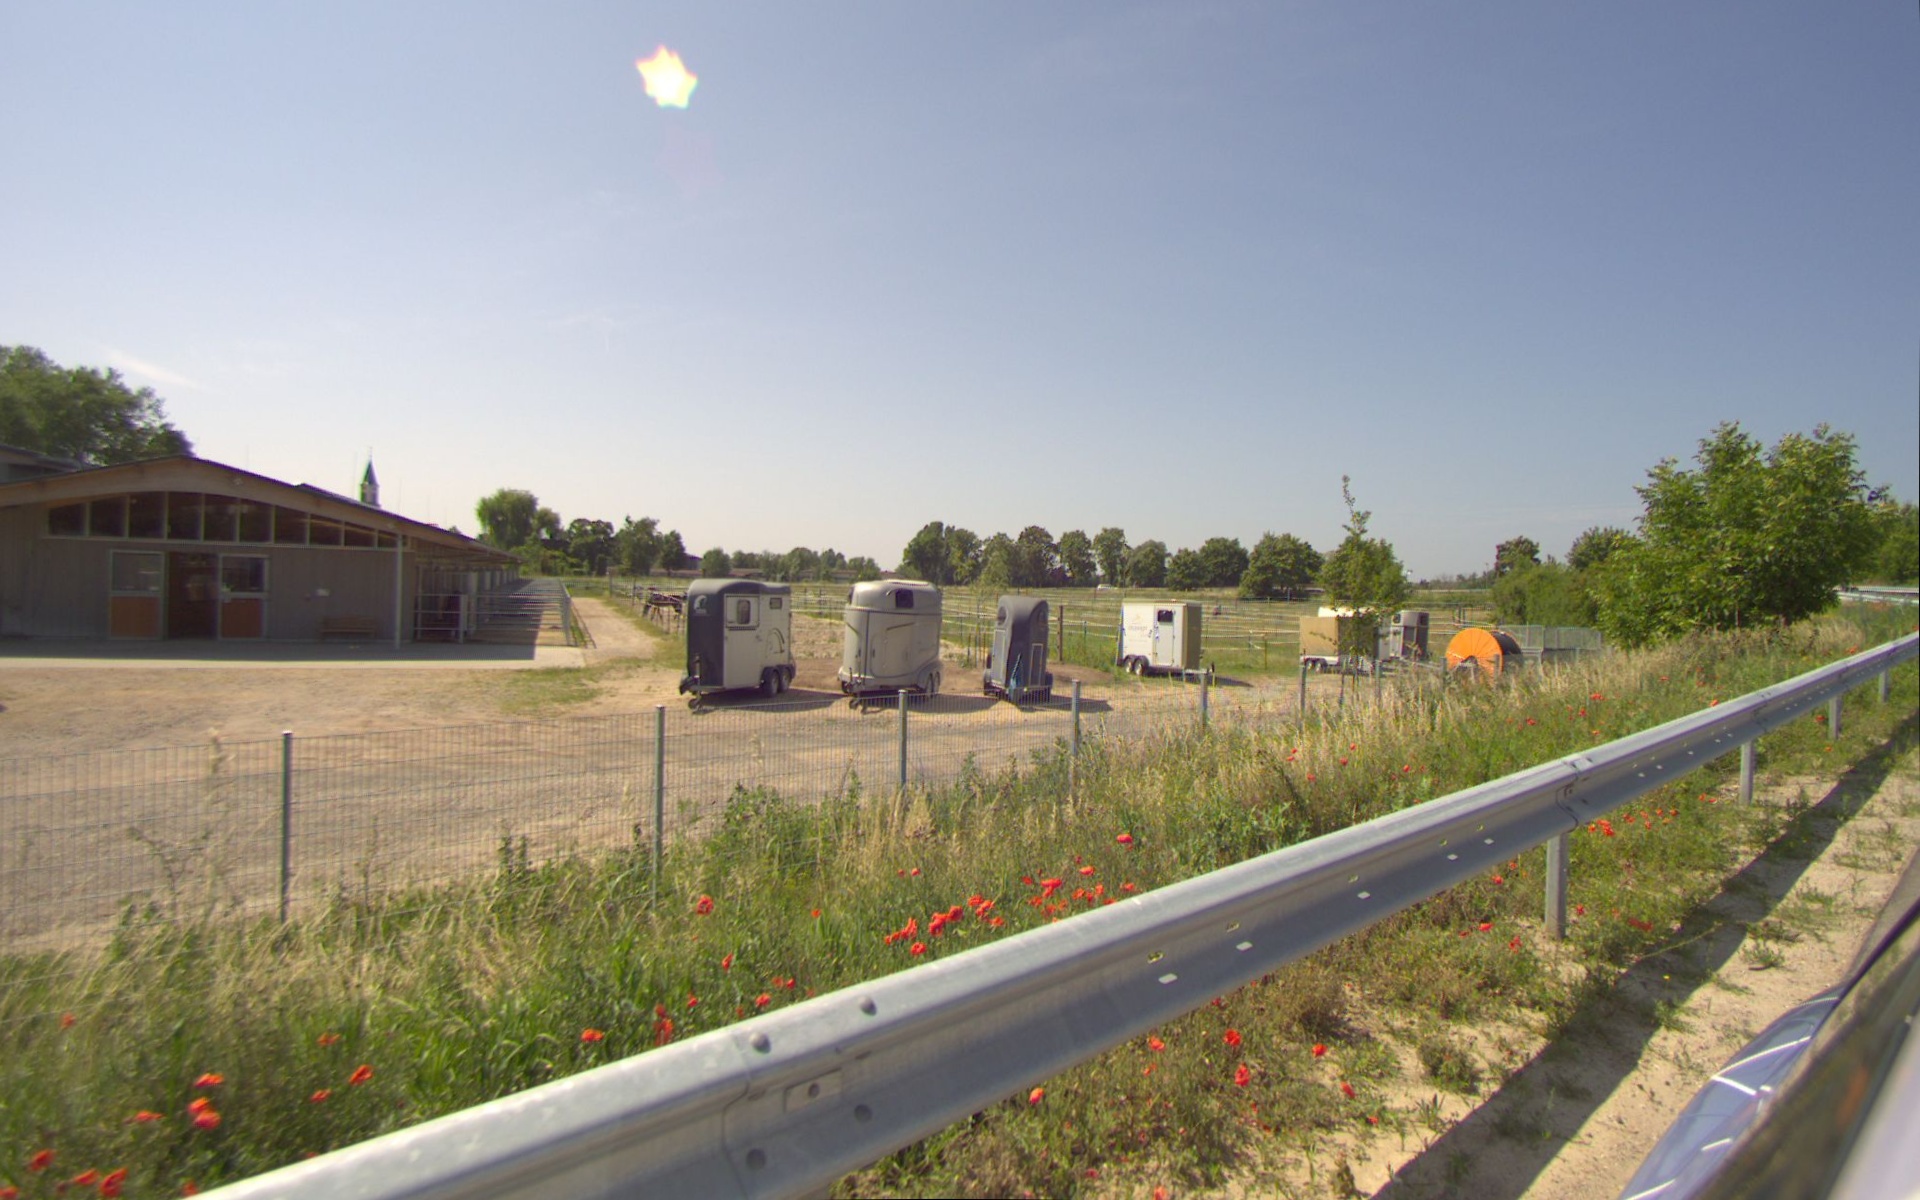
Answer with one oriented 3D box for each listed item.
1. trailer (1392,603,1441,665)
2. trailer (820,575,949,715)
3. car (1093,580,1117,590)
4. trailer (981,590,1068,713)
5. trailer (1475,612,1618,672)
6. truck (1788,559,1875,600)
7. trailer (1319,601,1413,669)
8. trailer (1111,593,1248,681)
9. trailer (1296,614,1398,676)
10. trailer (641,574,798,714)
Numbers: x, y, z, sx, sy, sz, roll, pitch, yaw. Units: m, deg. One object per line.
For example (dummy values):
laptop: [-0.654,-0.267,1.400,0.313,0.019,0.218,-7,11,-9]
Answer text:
trailer: [22.452,1.664,49.861,1.978,2.841,3.350,3,-1,23]
trailer: [-1.653,0.901,24.125,2.195,2.900,5.038,2,1,5]
car: [28.212,-2.914,196.786,4.207,2.038,2.002,-1,1,-4]
trailer: [1.526,1.160,25.588,1.792,2.661,4.551,4,1,1]
trailer: [26.549,1.842,45.799,5.926,2.409,2.586,-1,1,-24]
truck: [79.855,-1.871,92.692,8.023,3.583,2.830,-1,1,-23]
trailer: [18.182,1.516,45.467,2.120,2.840,3.428,1,1,-22]
trailer: [7.455,1.183,35.037,2.162,2.722,5.200,2,1,-19]
trailer: [15.854,1.785,41.703,1.965,2.421,4.100,0,-1,-13]
trailer: [-5.332,0.842,23.110,2.137,2.702,4.477,2,3,5]
